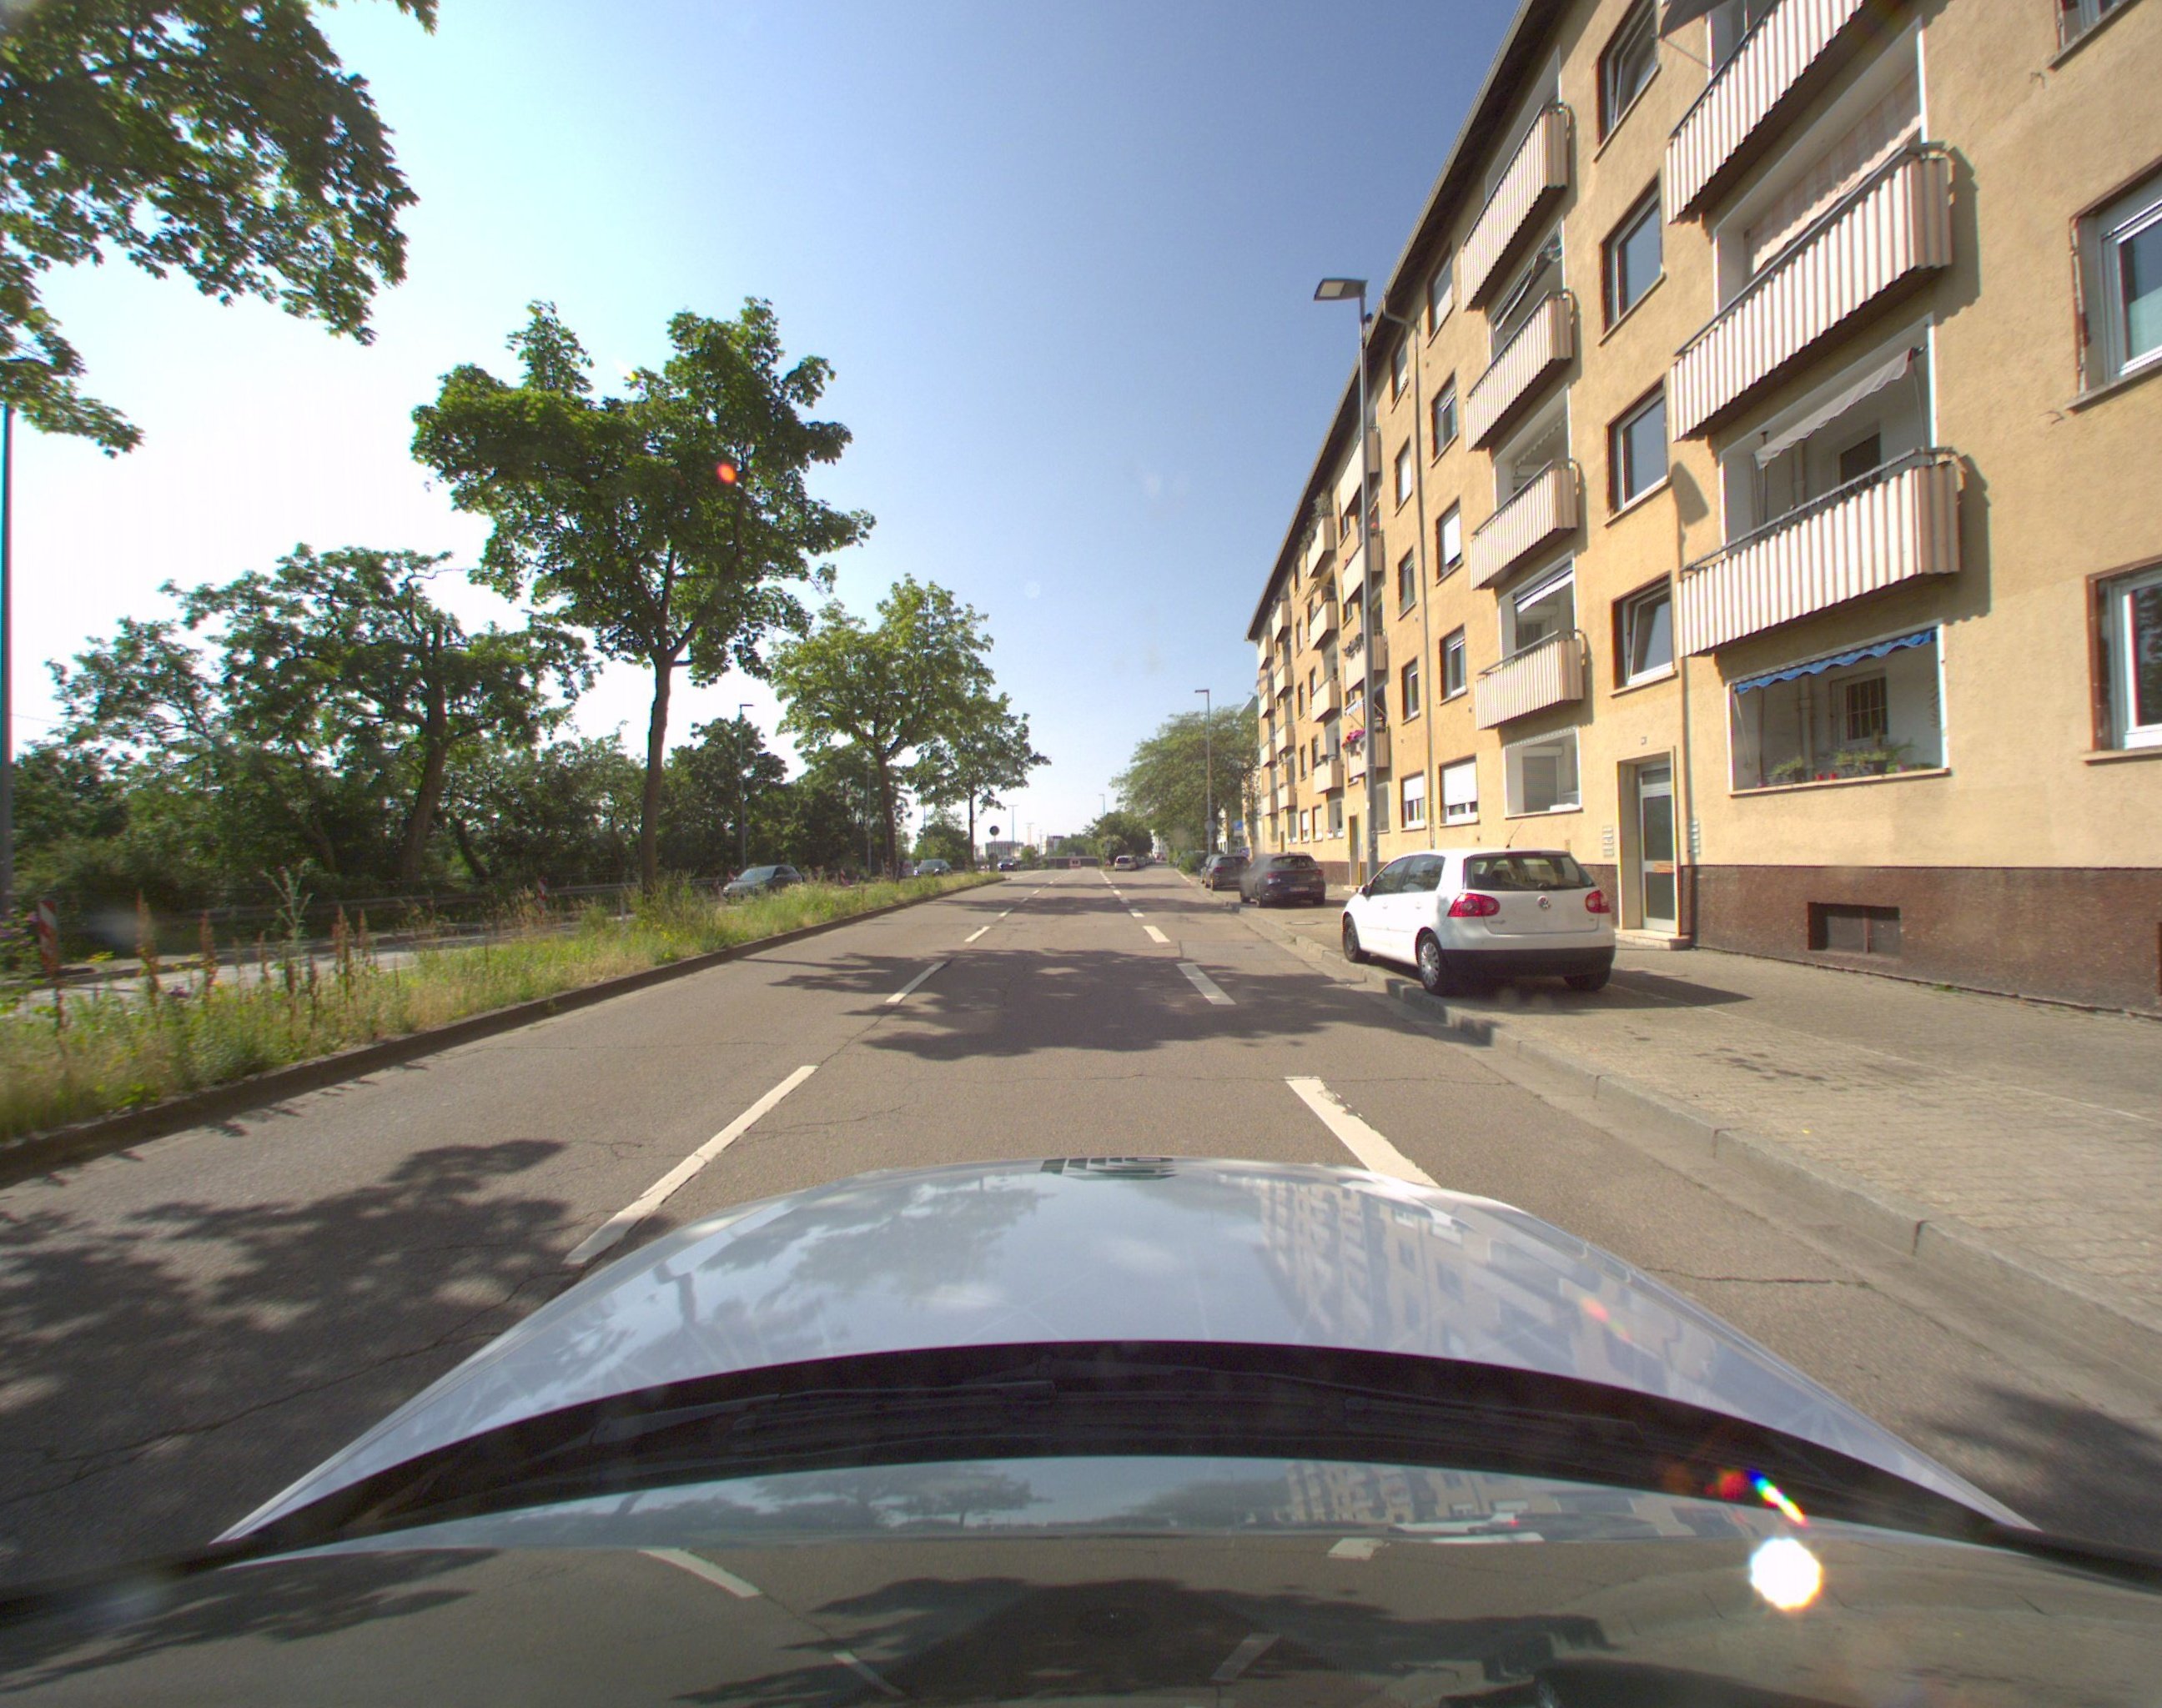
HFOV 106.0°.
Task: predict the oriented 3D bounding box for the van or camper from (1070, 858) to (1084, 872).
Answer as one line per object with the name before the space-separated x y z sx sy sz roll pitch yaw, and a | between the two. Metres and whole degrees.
van or camper | -0.754 2.245 164.437 2.285 2.789 5.578 0 -1 5

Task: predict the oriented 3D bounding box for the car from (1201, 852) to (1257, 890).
car | 6.081 0.667 33.885 1.704 1.462 4.258 -1 0 3

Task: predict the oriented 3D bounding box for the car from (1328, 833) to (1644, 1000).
car | 4.361 0.581 9.584 1.750 1.506 4.129 -2 0 2

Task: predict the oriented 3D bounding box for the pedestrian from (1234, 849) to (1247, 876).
pedestrian | 9.623 0.525 49.119 0.652 1.609 0.825 -2 0 6

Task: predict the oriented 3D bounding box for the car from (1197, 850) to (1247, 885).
car | 6.677 0.605 38.938 1.697 1.514 4.093 -2 0 1

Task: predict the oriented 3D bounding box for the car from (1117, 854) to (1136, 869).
car | 4.831 0.752 85.268 1.712 1.505 4.139 -2 0 6

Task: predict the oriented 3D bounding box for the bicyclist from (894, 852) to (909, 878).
bicyclist | -13.222 0.811 60.048 0.692 1.832 1.019 -2 0 8

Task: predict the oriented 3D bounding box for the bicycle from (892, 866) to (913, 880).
bicycle | -13.182 1.385 60.150 0.689 0.905 2.348 -2 0 9

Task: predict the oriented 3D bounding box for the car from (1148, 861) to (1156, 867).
car | 19.854 2.700 227.887 1.984 1.657 4.005 -1 -1 5

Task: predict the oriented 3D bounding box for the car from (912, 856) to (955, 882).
car | -9.069 0.903 50.450 1.756 1.474 4.086 -2 0 2

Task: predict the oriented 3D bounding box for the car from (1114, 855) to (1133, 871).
car | 4.255 0.855 80.528 1.611 1.505 3.467 -2 0 6

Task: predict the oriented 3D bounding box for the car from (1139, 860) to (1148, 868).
car | 12.668 2.075 165.320 1.655 1.509 4.015 1 0 6

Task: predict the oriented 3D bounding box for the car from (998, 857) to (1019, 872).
car | -8.714 1.225 98.088 1.986 1.734 4.731 -1 -1 1

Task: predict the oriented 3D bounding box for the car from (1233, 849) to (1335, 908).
car | 5.530 0.627 22.813 1.794 1.438 4.591 -1 0 1

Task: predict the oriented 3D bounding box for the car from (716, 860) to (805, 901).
car | -12.656 1.007 32.441 1.790 1.530 4.003 -1 -1 3

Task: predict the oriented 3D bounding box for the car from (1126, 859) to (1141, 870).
car | 6.889 1.362 106.376 1.655 1.473 3.796 1 0 6

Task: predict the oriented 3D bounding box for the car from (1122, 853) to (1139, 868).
car | 5.481 0.699 90.746 1.764 1.579 4.189 -2 0 3
